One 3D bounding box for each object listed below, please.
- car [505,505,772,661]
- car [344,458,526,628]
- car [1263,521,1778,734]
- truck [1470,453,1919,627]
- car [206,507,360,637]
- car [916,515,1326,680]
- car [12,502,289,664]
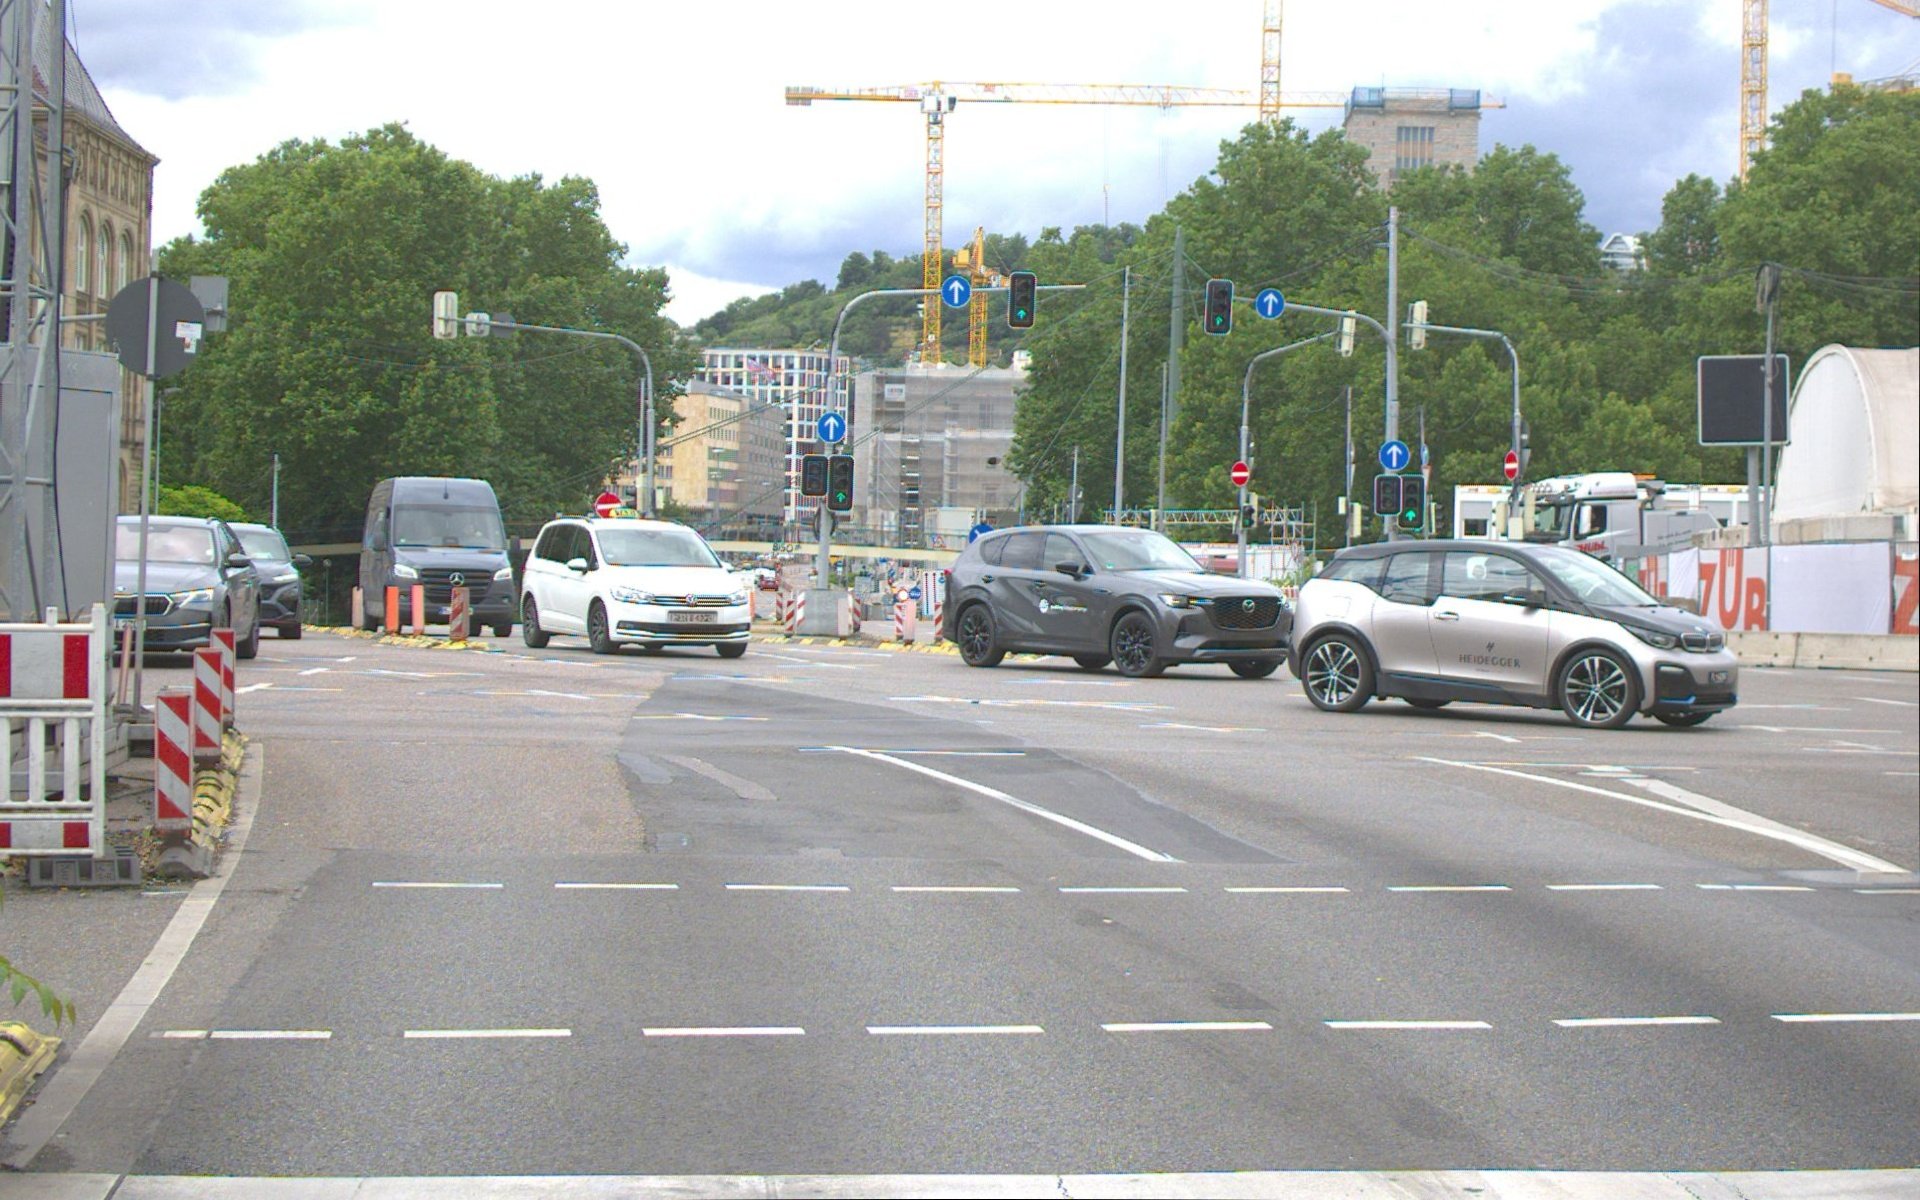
[{"bbox_3d":[-3.967,-0.247,41.671,1.877,1.730,4.446,1,1,-24],"label":"car"},{"bbox_3d":[-8.649,-0.954,56.188,2.056,2.585,6.016,1,1,-17],"label":"car"},{"bbox_3d":[4.889,0.200,30.233,4.062,1.662,1.796,3,1,38],"label":"car"},{"bbox_3d":[19.510,-1.443,86.020,13.022,4.027,3.952,1,1,-21],"label":"truck"},{"bbox_3d":[-9.471,-0.429,47.885,1.877,1.664,4.446,1,1,-14],"label":"car"},{"bbox_3d":[1.743,-0.059,38.707,1.879,1.664,4.608,0,2,-42],"label":"car"},{"bbox_3d":[-8.011,-0.210,34.402,1.878,1.467,4.445,1,1,-3],"label":"car"}]
